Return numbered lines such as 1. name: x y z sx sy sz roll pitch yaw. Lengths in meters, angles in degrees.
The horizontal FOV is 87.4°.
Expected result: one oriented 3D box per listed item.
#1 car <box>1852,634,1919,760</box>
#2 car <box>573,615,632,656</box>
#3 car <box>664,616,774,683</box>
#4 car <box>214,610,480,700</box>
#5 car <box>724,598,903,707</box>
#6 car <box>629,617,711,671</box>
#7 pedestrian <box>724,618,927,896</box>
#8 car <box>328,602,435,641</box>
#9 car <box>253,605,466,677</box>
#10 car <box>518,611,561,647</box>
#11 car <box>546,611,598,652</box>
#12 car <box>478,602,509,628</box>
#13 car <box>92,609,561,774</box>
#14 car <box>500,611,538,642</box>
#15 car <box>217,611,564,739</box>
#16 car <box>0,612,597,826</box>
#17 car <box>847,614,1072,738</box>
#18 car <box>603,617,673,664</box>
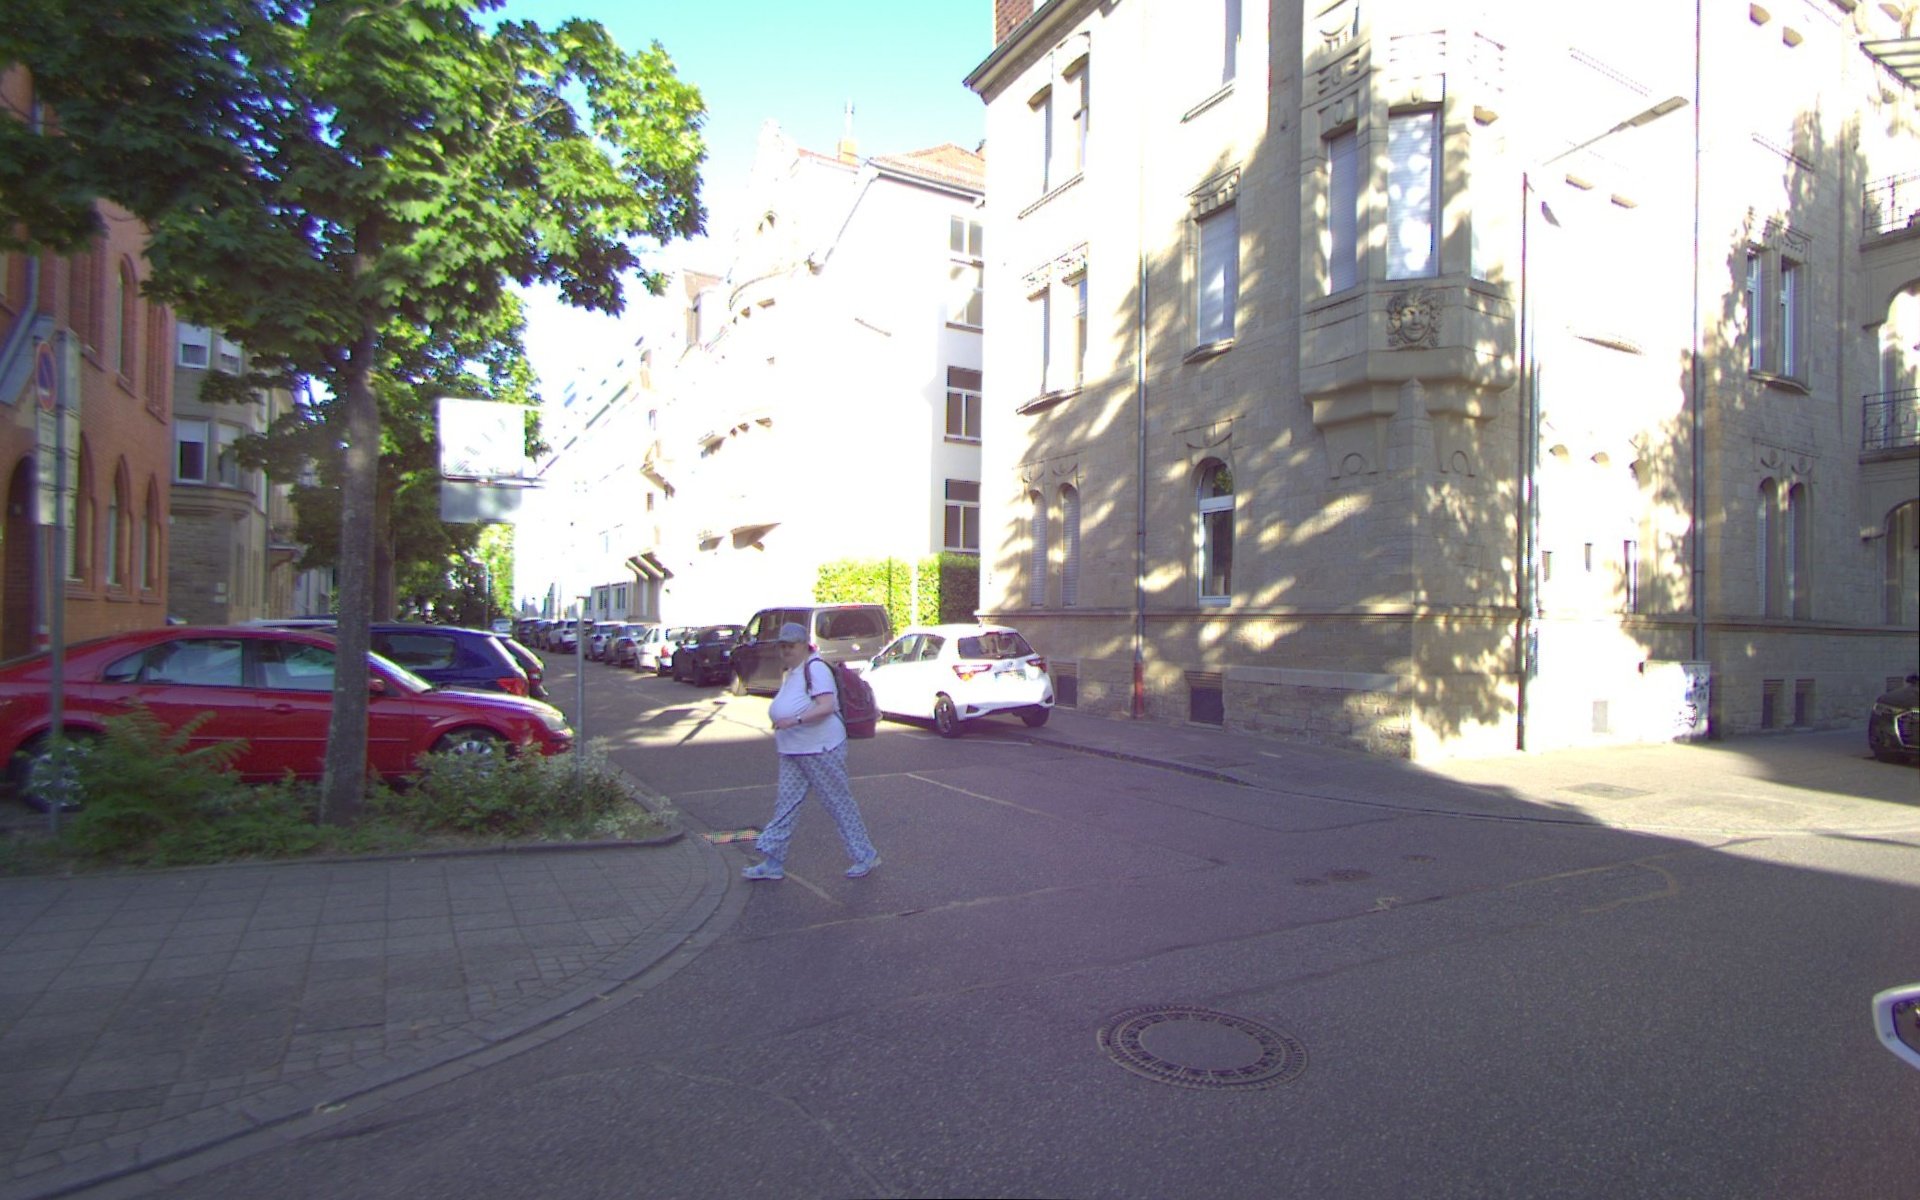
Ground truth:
1. car: 13.543 1.258 12.823 4.841 1.446 1.802 2 1 -31
2. car: -13.765 1.324 38.622 1.471 1.424 3.386 -2 0 -31
3. car: -6.190 1.192 25.500 1.584 1.493 3.869 -2 0 -31
4. car: -11.581 1.024 19.269 4.163 1.570 1.705 2 -2 -30
5. car: -3.070 0.949 20.180 1.846 1.892 4.688 -2 0 -31
6. car: -8.552 1.253 29.498 1.471 1.424 3.386 -2 0 -31
7. pedestrian: -0.872 0.923 6.431 1.041 1.598 0.884 1 -2 -30
8. car: -26.545 1.003 46.156 4.165 1.722 1.704 2 -2 -32
9. car: -14.069 0.961 23.787 4.162 1.571 1.705 2 -2 -30
10. car: -22.309 1.501 53.229 1.633 1.753 3.387 -2 0 -30
11. car: -17.931 1.412 46.354 1.634 1.753 3.386 -2 0 -31
12. car: -36.162 1.160 77.798 1.847 1.757 3.967 2 1 -30
13. car: -6.868 0.945 11.366 4.163 1.570 1.705 2 -2 -30
14. car: -26.374 1.535 60.005 1.633 1.753 3.387 -2 0 -30
15. car: -7.646 0.986 13.799 3.870 1.532 1.705 2 -2 -30
16. car: -5.742 0.930 8.792 4.603 1.488 1.628 2 -1 -30
17. car: -0.141 1.026 15.276 1.699 1.571 3.776 -2 0 -31
18. car: -10.829 1.321 33.641 1.471 1.424 3.386 -2 0 -31
